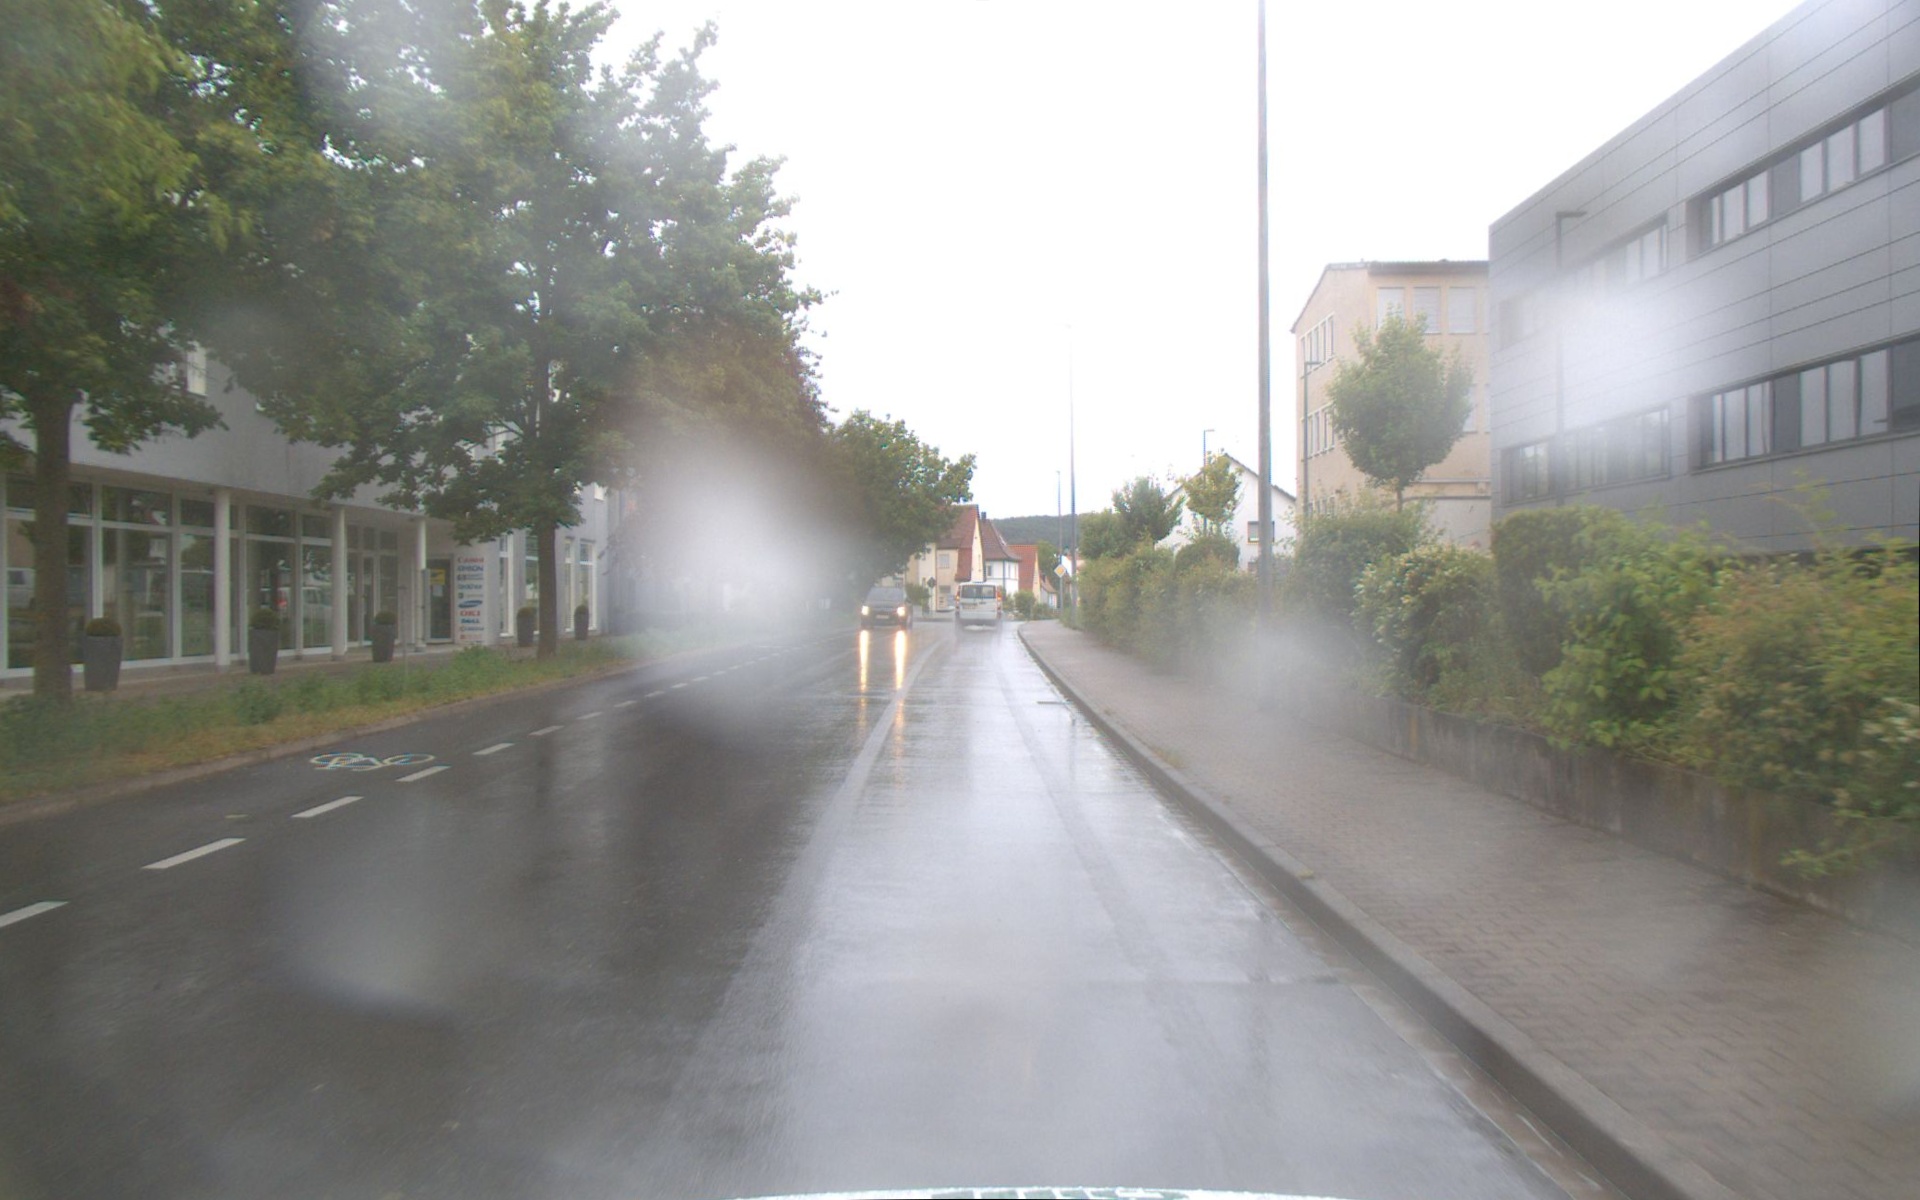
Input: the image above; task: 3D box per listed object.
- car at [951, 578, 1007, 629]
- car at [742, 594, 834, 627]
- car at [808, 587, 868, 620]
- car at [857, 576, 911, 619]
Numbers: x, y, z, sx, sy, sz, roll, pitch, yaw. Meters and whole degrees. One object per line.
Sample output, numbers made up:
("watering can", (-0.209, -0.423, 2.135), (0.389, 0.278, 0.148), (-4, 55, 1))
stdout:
("car", (0.729, 0.098, 65.565), (2.074, 1.921, 4.501), (0, 1, -1))
("car", (-7.630, 0.467, 73.571), (3.819, 1.306, 1.582), (-2, -1, 2))
("car", (-6.048, 0.172, 82.167), (2.848, 1.480, 1.253), (-2, -3, 2))
("car", (-2.967, -0.126, 65.436), (1.812, 1.582, 4.503), (1, 1, 1))
